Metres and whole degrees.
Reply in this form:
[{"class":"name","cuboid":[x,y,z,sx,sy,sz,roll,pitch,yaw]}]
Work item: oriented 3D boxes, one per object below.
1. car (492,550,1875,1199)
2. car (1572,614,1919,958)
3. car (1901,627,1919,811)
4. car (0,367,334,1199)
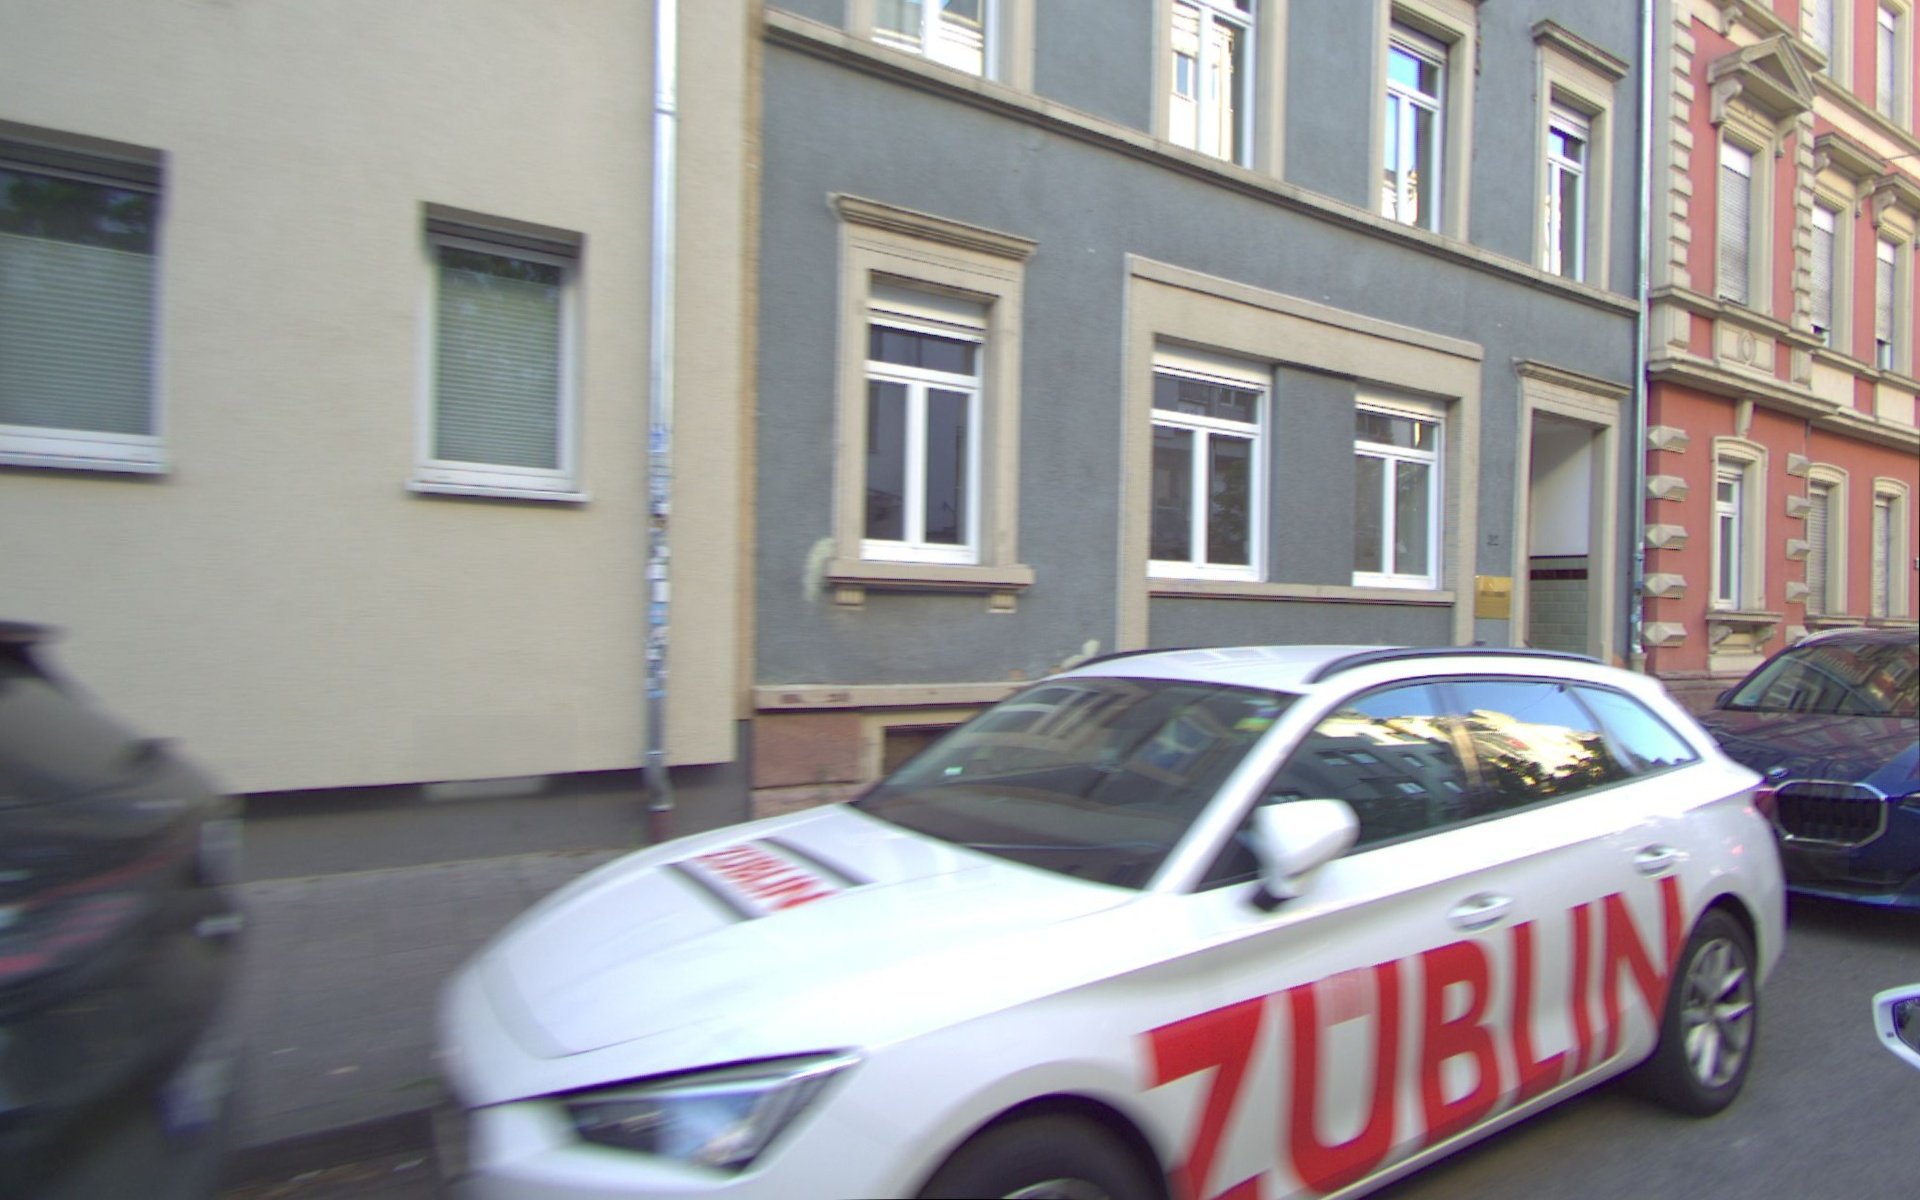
[{"class":"car","cuboid":[0.904,0.790,3.248,4.218,1.580,1.911,1,-3,-31]},{"class":"car","cuboid":[5.929,0.909,6.228,4.218,1.580,1.911,1,-3,-31]},{"class":"car","cuboid":[10.441,1.015,8.979,4.192,1.580,1.891,1,-3,-31]},{"class":"car","cuboid":[-3.195,0.596,0.884,4.418,1.685,1.911,1,-3,-31]}]
